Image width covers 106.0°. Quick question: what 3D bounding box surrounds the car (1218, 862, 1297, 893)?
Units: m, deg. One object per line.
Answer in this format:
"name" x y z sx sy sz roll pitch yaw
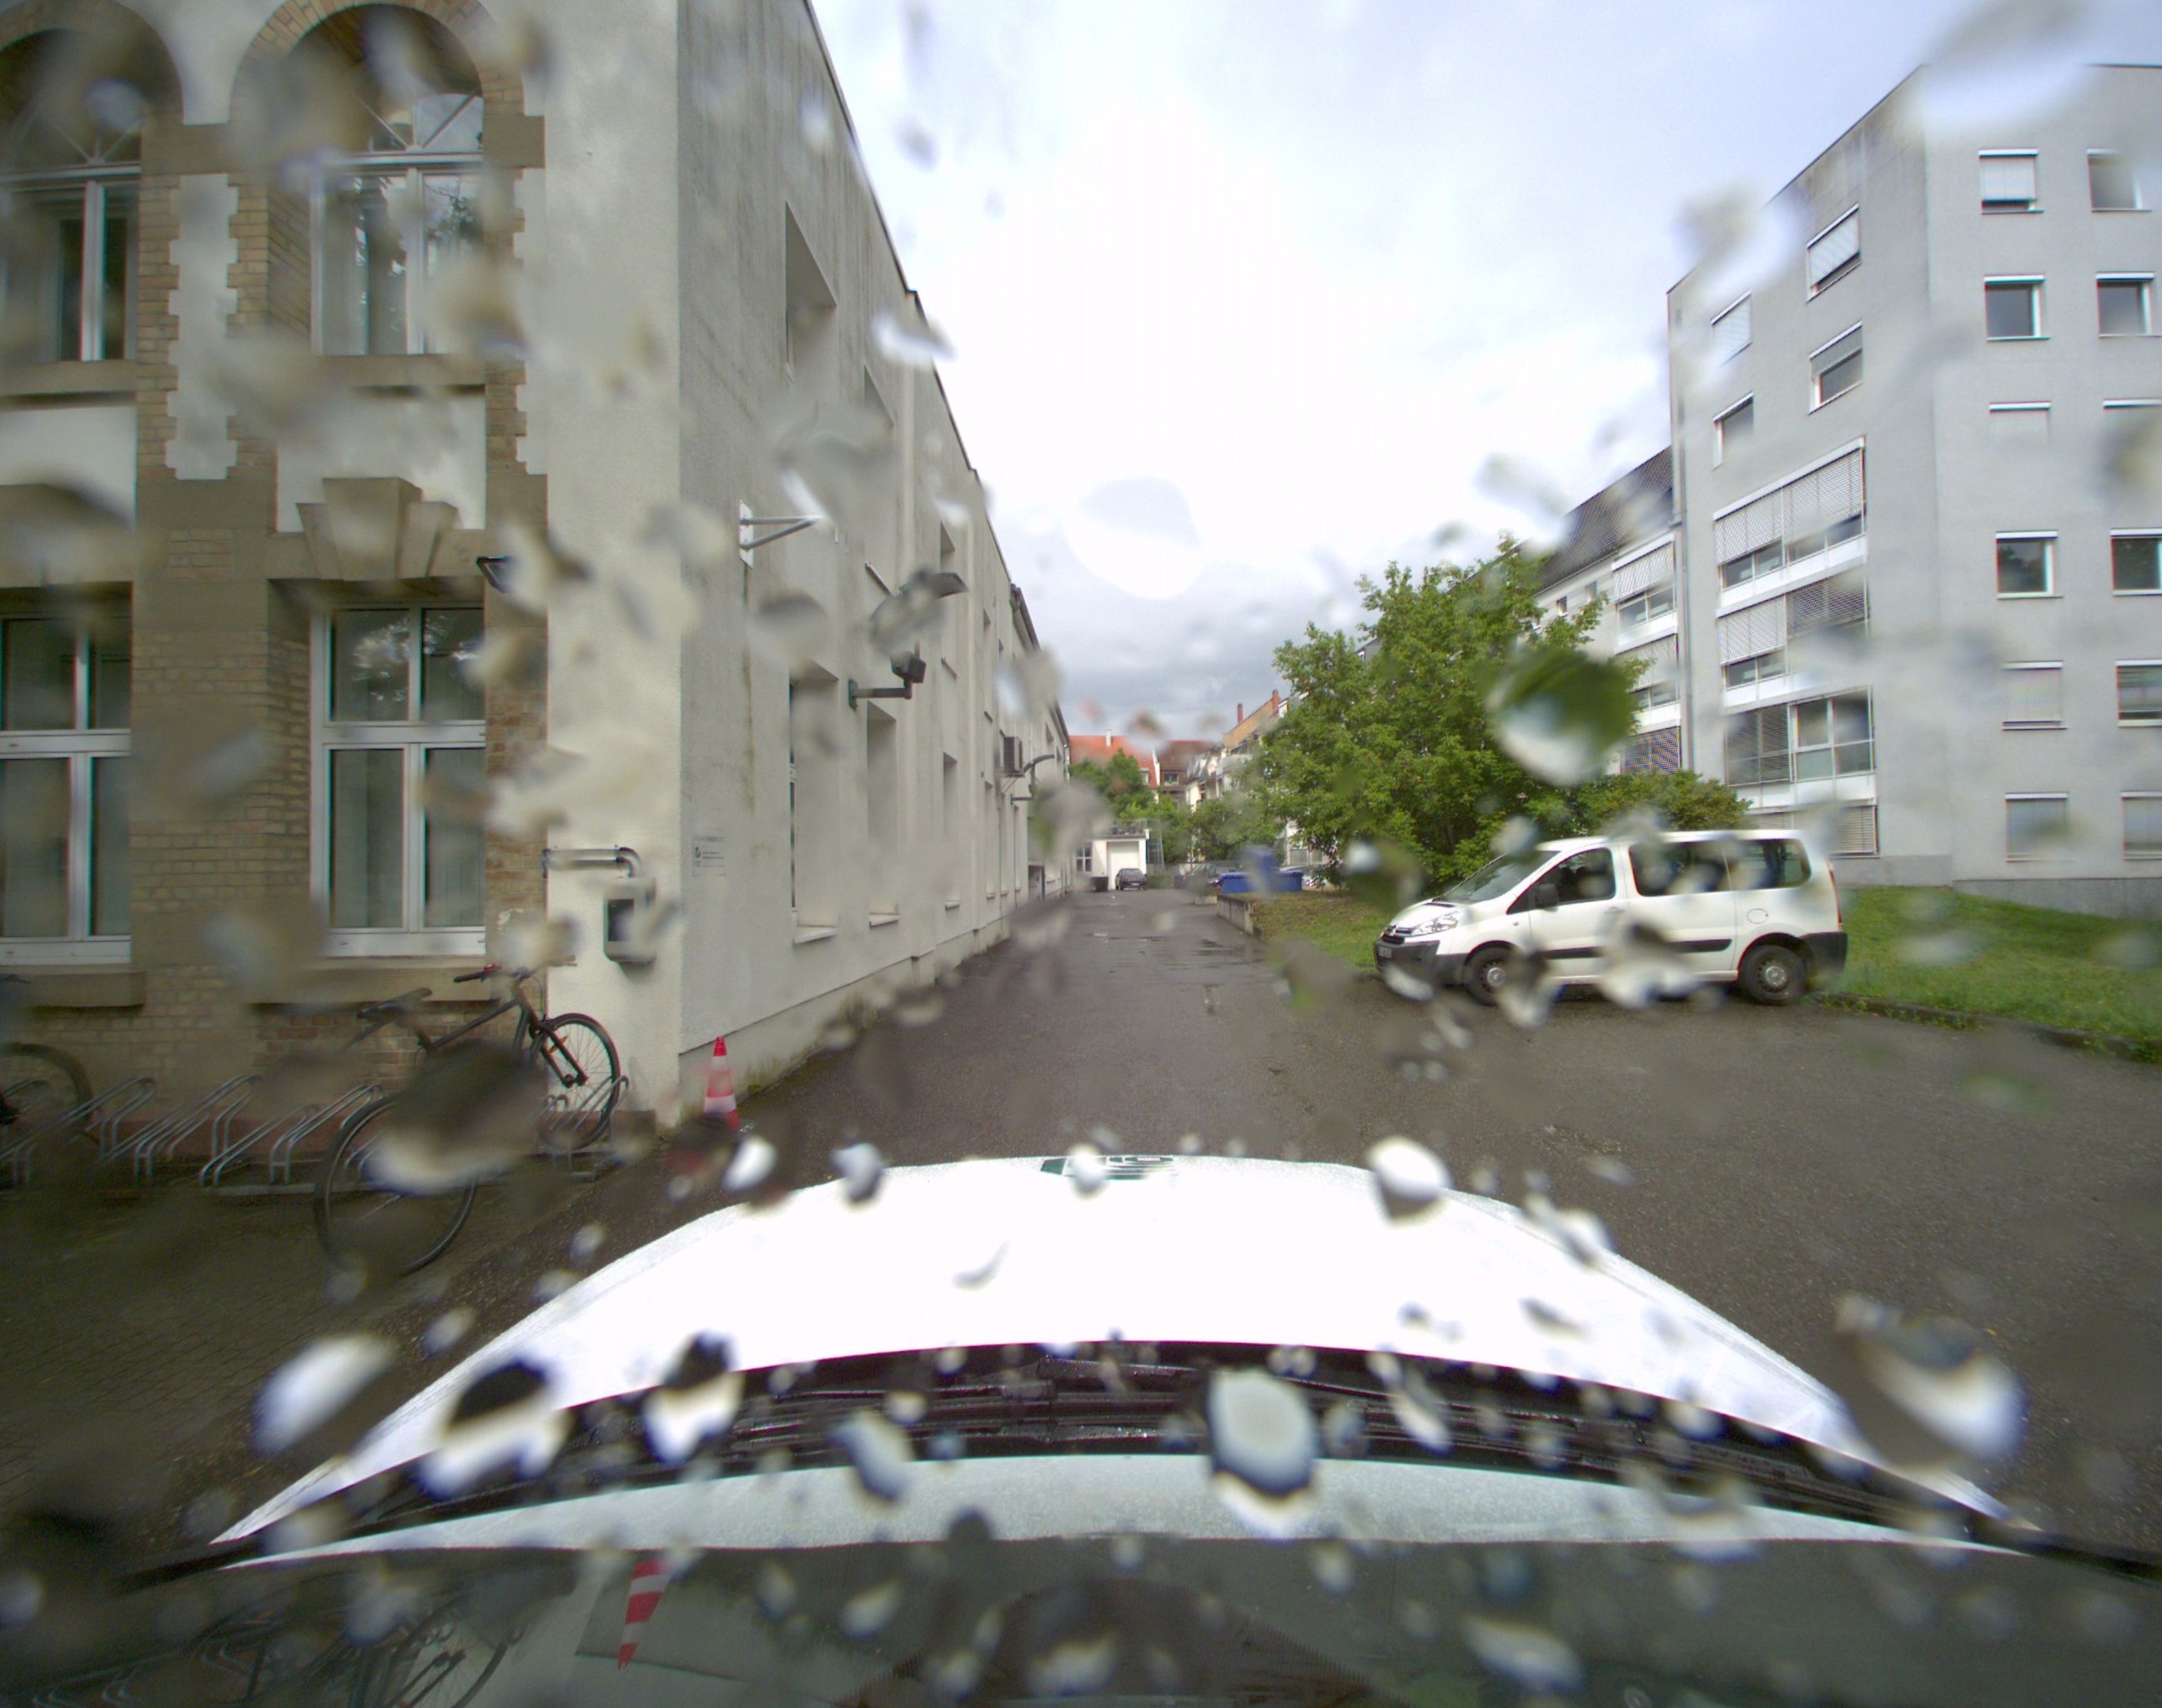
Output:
"car" 9.780 1.289 45.246 3.904 1.514 1.816 -2 -1 -6

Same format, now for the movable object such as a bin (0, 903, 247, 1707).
"movable object such as a bin" -2.216 0.848 0.790 1.162 1.483 1.592 -3 -1 -4

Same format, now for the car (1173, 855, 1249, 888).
"car" 8.905 1.198 55.820 4.634 2.003 2.218 -2 0 -9

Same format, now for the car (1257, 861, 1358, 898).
"car" 10.148 1.154 36.701 3.976 1.445 1.805 -3 -1 -2

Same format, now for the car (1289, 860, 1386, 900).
"car" 10.581 1.083 33.734 3.406 1.427 1.687 -3 -2 -1

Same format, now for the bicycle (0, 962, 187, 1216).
"bicycle" -5.441 1.164 3.760 0.613 1.116 1.789 -2 -2 2

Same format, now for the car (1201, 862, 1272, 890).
"car" 9.467 1.365 49.777 3.901 1.514 1.749 -2 -1 -4

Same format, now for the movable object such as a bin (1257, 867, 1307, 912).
"movable object such as a bin" 6.244 1.094 25.392 1.287 1.336 1.198 -2 -1 3

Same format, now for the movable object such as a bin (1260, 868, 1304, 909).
"movable object such as a bin" 6.686 1.140 27.119 1.181 1.304 1.107 -2 -1 2

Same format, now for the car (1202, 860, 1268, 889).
"car" 9.968 1.307 53.051 3.896 1.687 1.817 -2 -1 -1

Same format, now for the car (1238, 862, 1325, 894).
"car" 10.266 1.215 41.876 3.979 1.458 1.770 -2 -1 -4

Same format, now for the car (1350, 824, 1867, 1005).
"car" 6.023 0.692 9.881 4.852 1.926 2.101 0 -2 3

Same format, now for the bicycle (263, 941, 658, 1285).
"bicycle" -2.691 1.035 3.768 0.613 1.116 1.520 -2 -2 2

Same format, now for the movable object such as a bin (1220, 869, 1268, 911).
"movable object such as a bin" 5.383 1.192 27.019 1.366 1.304 1.084 -2 -1 3

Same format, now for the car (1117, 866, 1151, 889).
"car" 3.560 1.582 55.501 1.973 1.444 3.999 -1 -1 -1

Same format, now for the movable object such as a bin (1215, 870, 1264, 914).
"movable object such as a bin" 4.916 1.173 25.361 1.332 1.292 1.096 -2 0 3
